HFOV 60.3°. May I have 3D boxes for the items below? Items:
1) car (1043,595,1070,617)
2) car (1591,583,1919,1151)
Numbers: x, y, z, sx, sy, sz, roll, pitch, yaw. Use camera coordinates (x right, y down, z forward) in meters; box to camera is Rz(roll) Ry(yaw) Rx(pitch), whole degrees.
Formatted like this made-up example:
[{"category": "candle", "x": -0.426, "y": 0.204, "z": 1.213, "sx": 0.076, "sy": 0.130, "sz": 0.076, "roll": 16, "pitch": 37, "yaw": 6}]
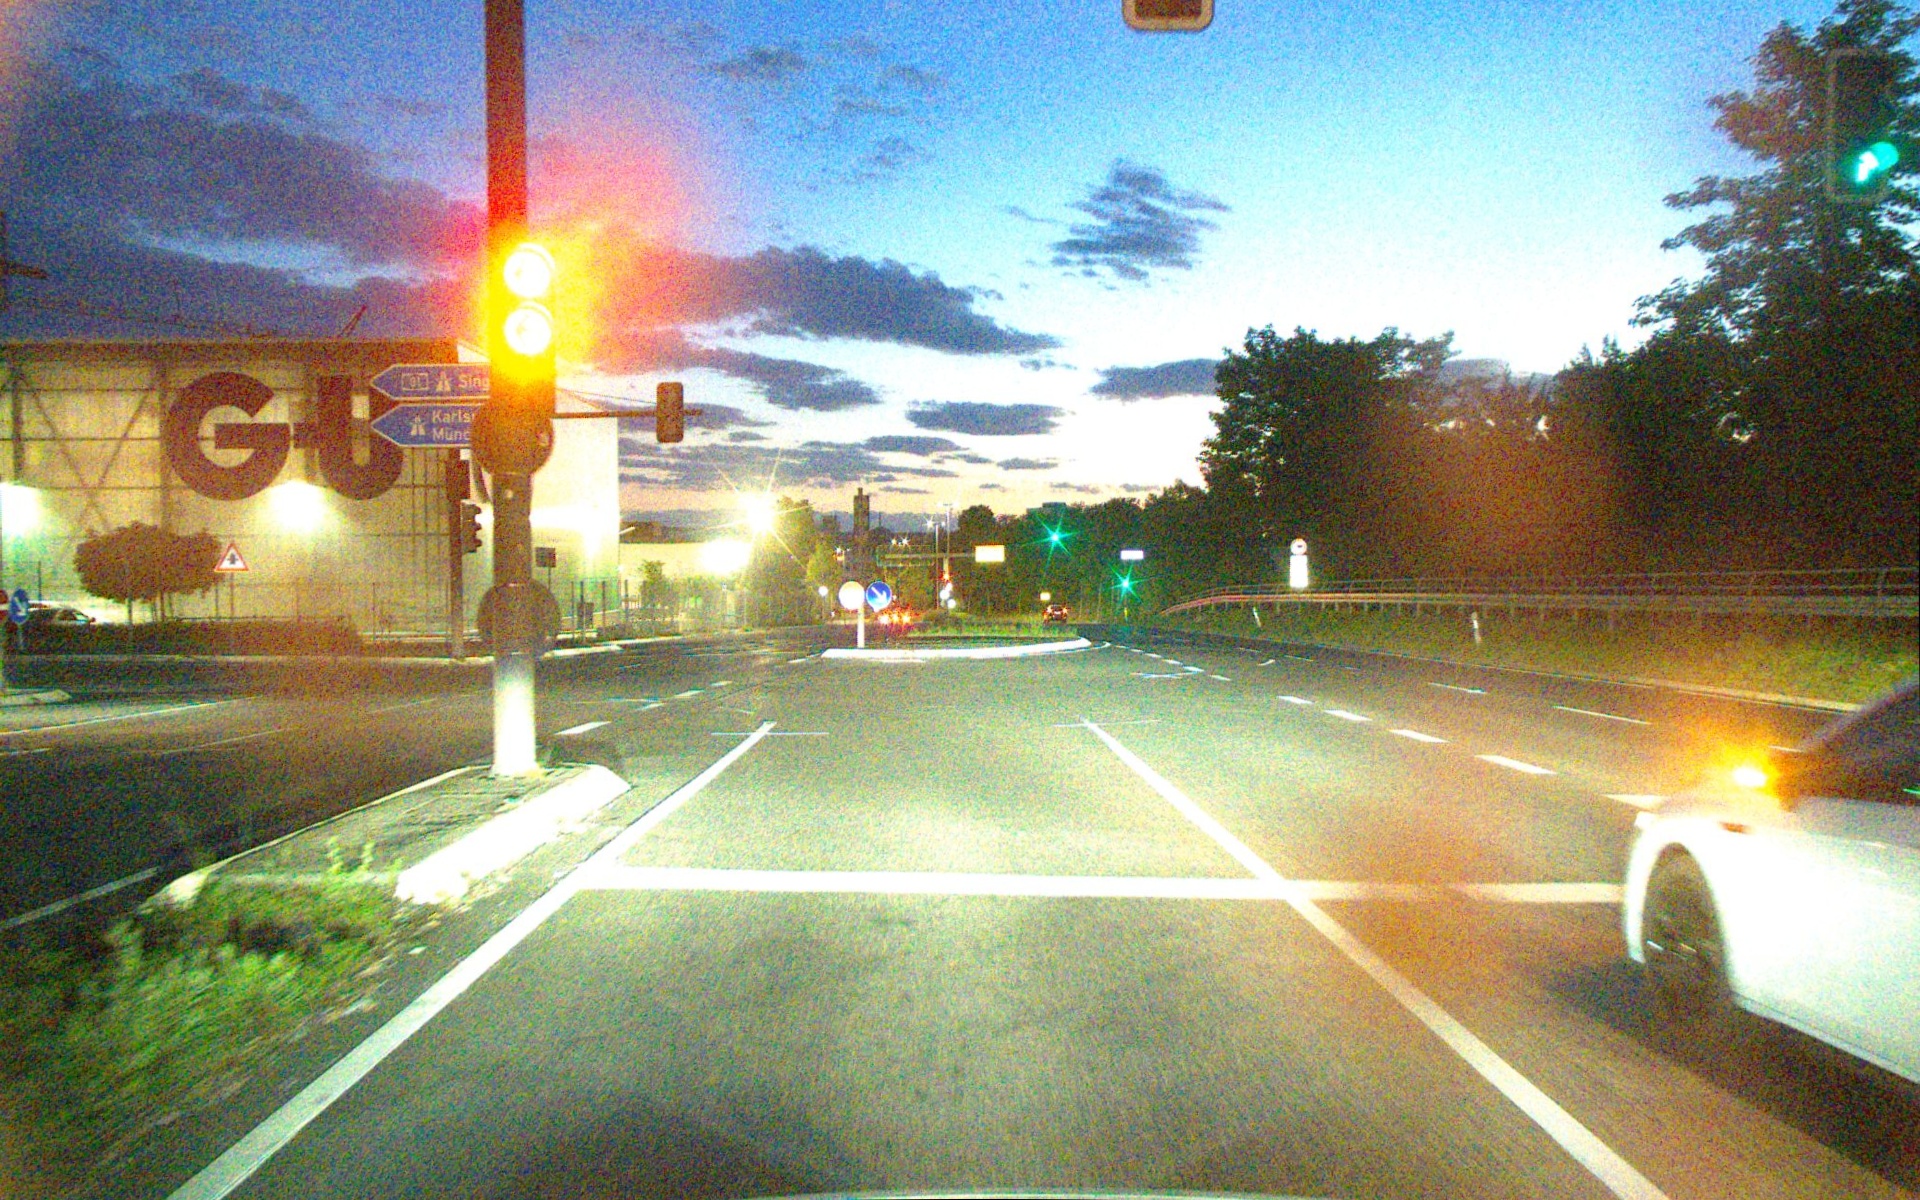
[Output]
[{"category": "car", "x": 7.984, "y": 0.470, "z": 136.943, "sx": 1.896, "sy": 1.675, "sz": 3.999, "roll": -1, "pitch": 1, "yaw": -2}, {"category": "car", "x": 3.392, "y": 0.715, "z": 4.360, "sx": 1.723, "sy": 1.485, "sz": 4.191, "roll": 0, "pitch": 1, "yaw": -2}]
